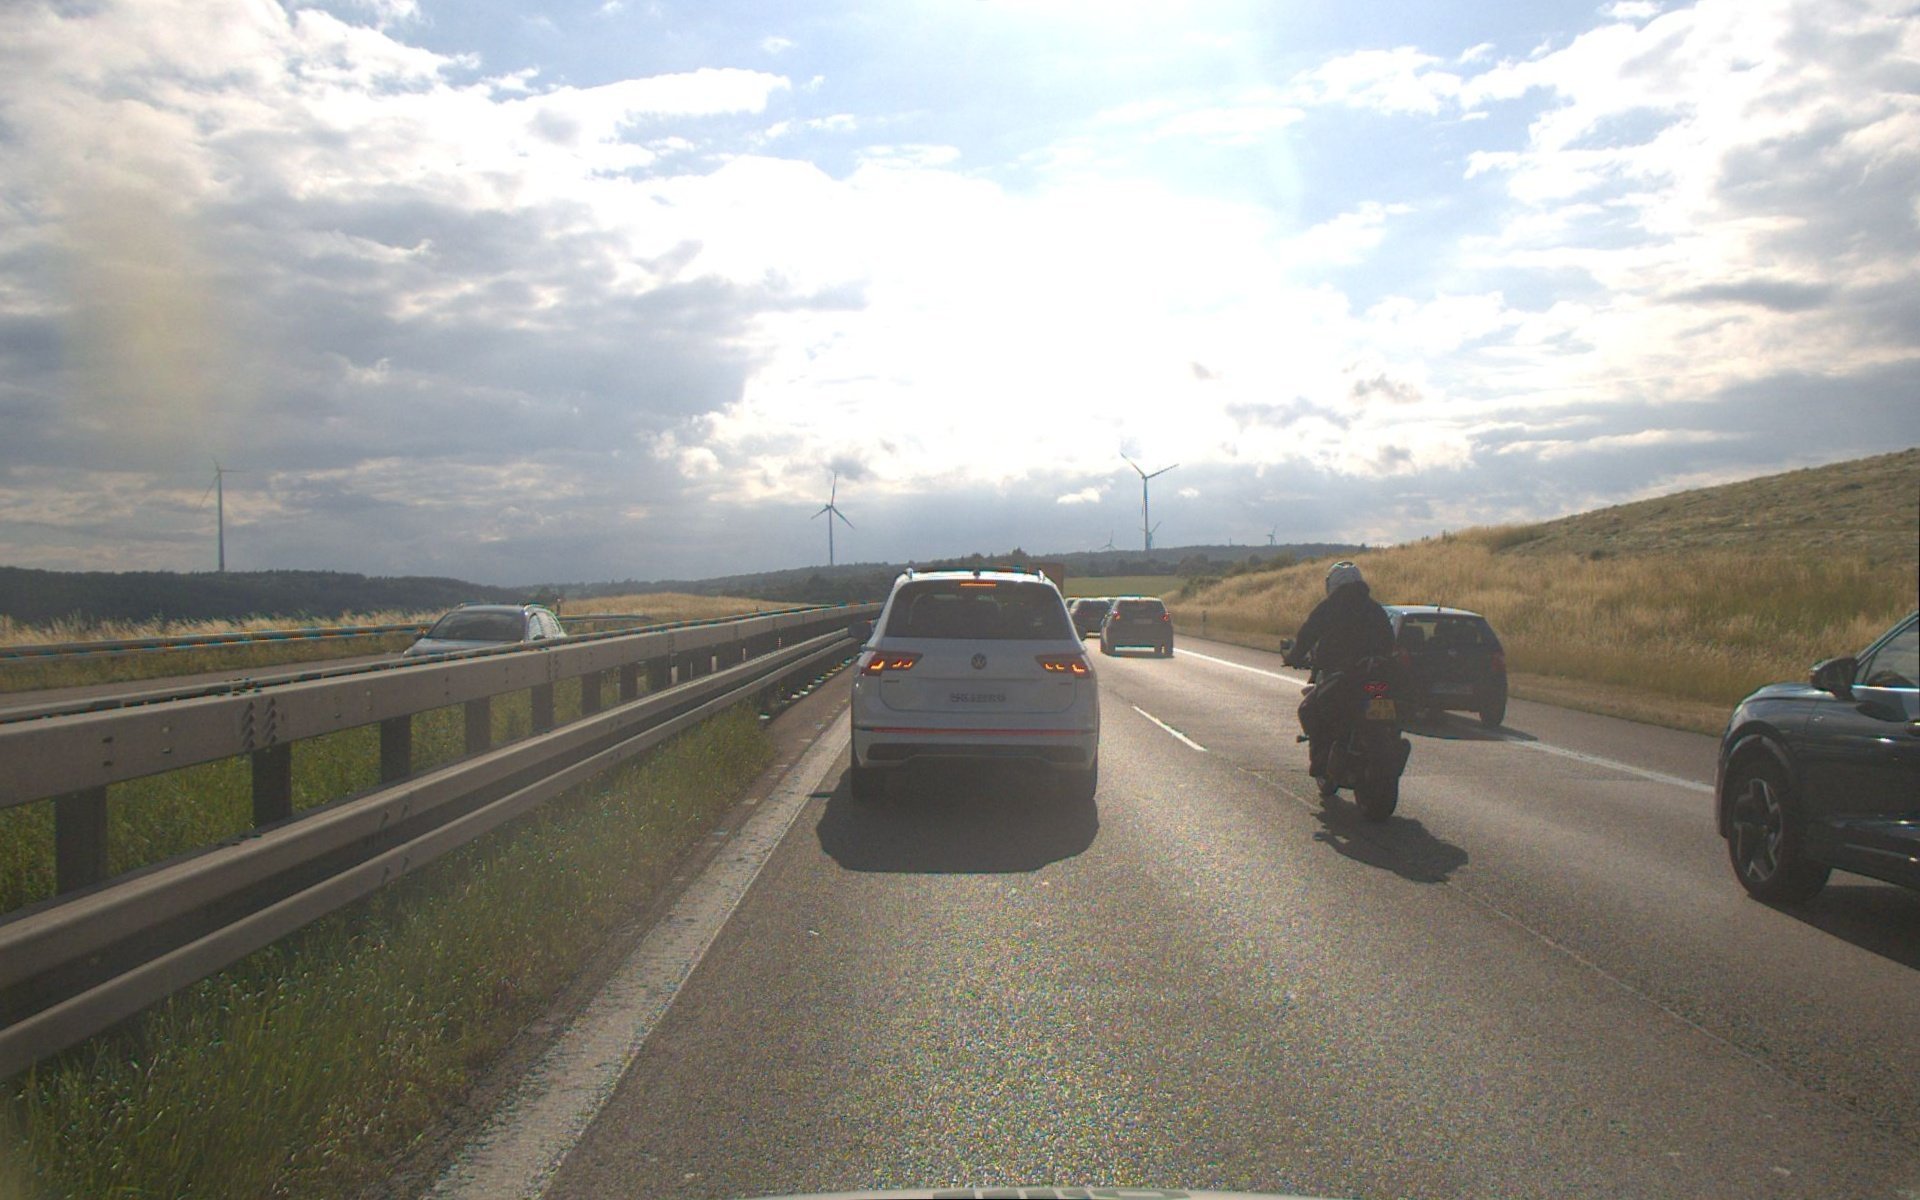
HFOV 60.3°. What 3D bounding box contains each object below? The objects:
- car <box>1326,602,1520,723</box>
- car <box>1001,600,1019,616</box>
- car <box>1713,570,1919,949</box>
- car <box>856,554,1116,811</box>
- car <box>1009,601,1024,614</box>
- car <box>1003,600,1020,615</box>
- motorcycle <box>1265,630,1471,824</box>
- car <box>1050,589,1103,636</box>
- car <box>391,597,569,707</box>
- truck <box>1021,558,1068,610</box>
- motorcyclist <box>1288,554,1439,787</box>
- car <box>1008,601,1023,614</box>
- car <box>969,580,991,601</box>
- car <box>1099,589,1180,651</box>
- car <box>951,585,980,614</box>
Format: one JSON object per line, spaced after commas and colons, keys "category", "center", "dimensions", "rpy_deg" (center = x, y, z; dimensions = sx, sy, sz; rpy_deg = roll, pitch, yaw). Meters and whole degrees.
{"category": "car", "center": [6.002, 0.762, 21.814], "dimensions": [1.572, 1.445, 3.672], "rpy_deg": [0, 0, 1]}
{"category": "car", "center": [5.158, 0.817, 170.763], "dimensions": [1.669, 1.573, 3.999], "rpy_deg": [0, 0, -1]}
{"category": "car", "center": [5.035, 0.714, 6.946], "dimensions": [1.784, 1.629, 4.234], "rpy_deg": [2, 0, 0]}
{"category": "car", "center": [0.156, 0.557, 13.085], "dimensions": [1.734, 1.705, 3.999], "rpy_deg": [0, 0, -1]}
{"category": "car", "center": [6.877, 0.894, 201.584], "dimensions": [1.669, 1.573, 3.999], "rpy_deg": [0, 0, -1]}
{"category": "car", "center": [5.599, 0.842, 181.139], "dimensions": [1.669, 1.573, 3.999], "rpy_deg": [0, 0, -1]}
{"category": "motorcycle", "center": [2.847, 0.841, 11.812], "dimensions": [0.877, 1.211, 2.256], "rpy_deg": [0, 0, -1]}
{"category": "car", "center": [4.300, 0.458, 61.503], "dimensions": [1.669, 1.679, 3.999], "rpy_deg": [0, 0, -1]}
{"category": "car", "center": [-7.281, 0.740, 25.493], "dimensions": [1.565, 1.541, 4.159], "rpy_deg": [0, 0, -1]}
{"category": "truck", "center": [6.247, -1.200, 123.793], "dimensions": [3.118, 3.656, 11.132], "rpy_deg": [0, 1, 1]}
{"category": "motorcyclist", "center": [2.852, 0.483, 11.770], "dimensions": [0.832, 1.587, 0.934], "rpy_deg": [0, 0, -1]}
{"category": "car", "center": [6.984, 0.908, 208.022], "dimensions": [1.669, 1.573, 3.999], "rpy_deg": [0, 0, -1]}
{"category": "car", "center": [1.540, -0.710, 128.555], "dimensions": [1.669, 1.573, 3.999], "rpy_deg": [0, 0, -1]}
{"category": "car", "center": [4.713, 0.511, 43.870], "dimensions": [1.669, 1.573, 3.999], "rpy_deg": [0, 0, -1]}
{"category": "car", "center": [0.323, 0.002, 98.540], "dimensions": [1.669, 1.679, 3.999], "rpy_deg": [0, 0, -1]}
